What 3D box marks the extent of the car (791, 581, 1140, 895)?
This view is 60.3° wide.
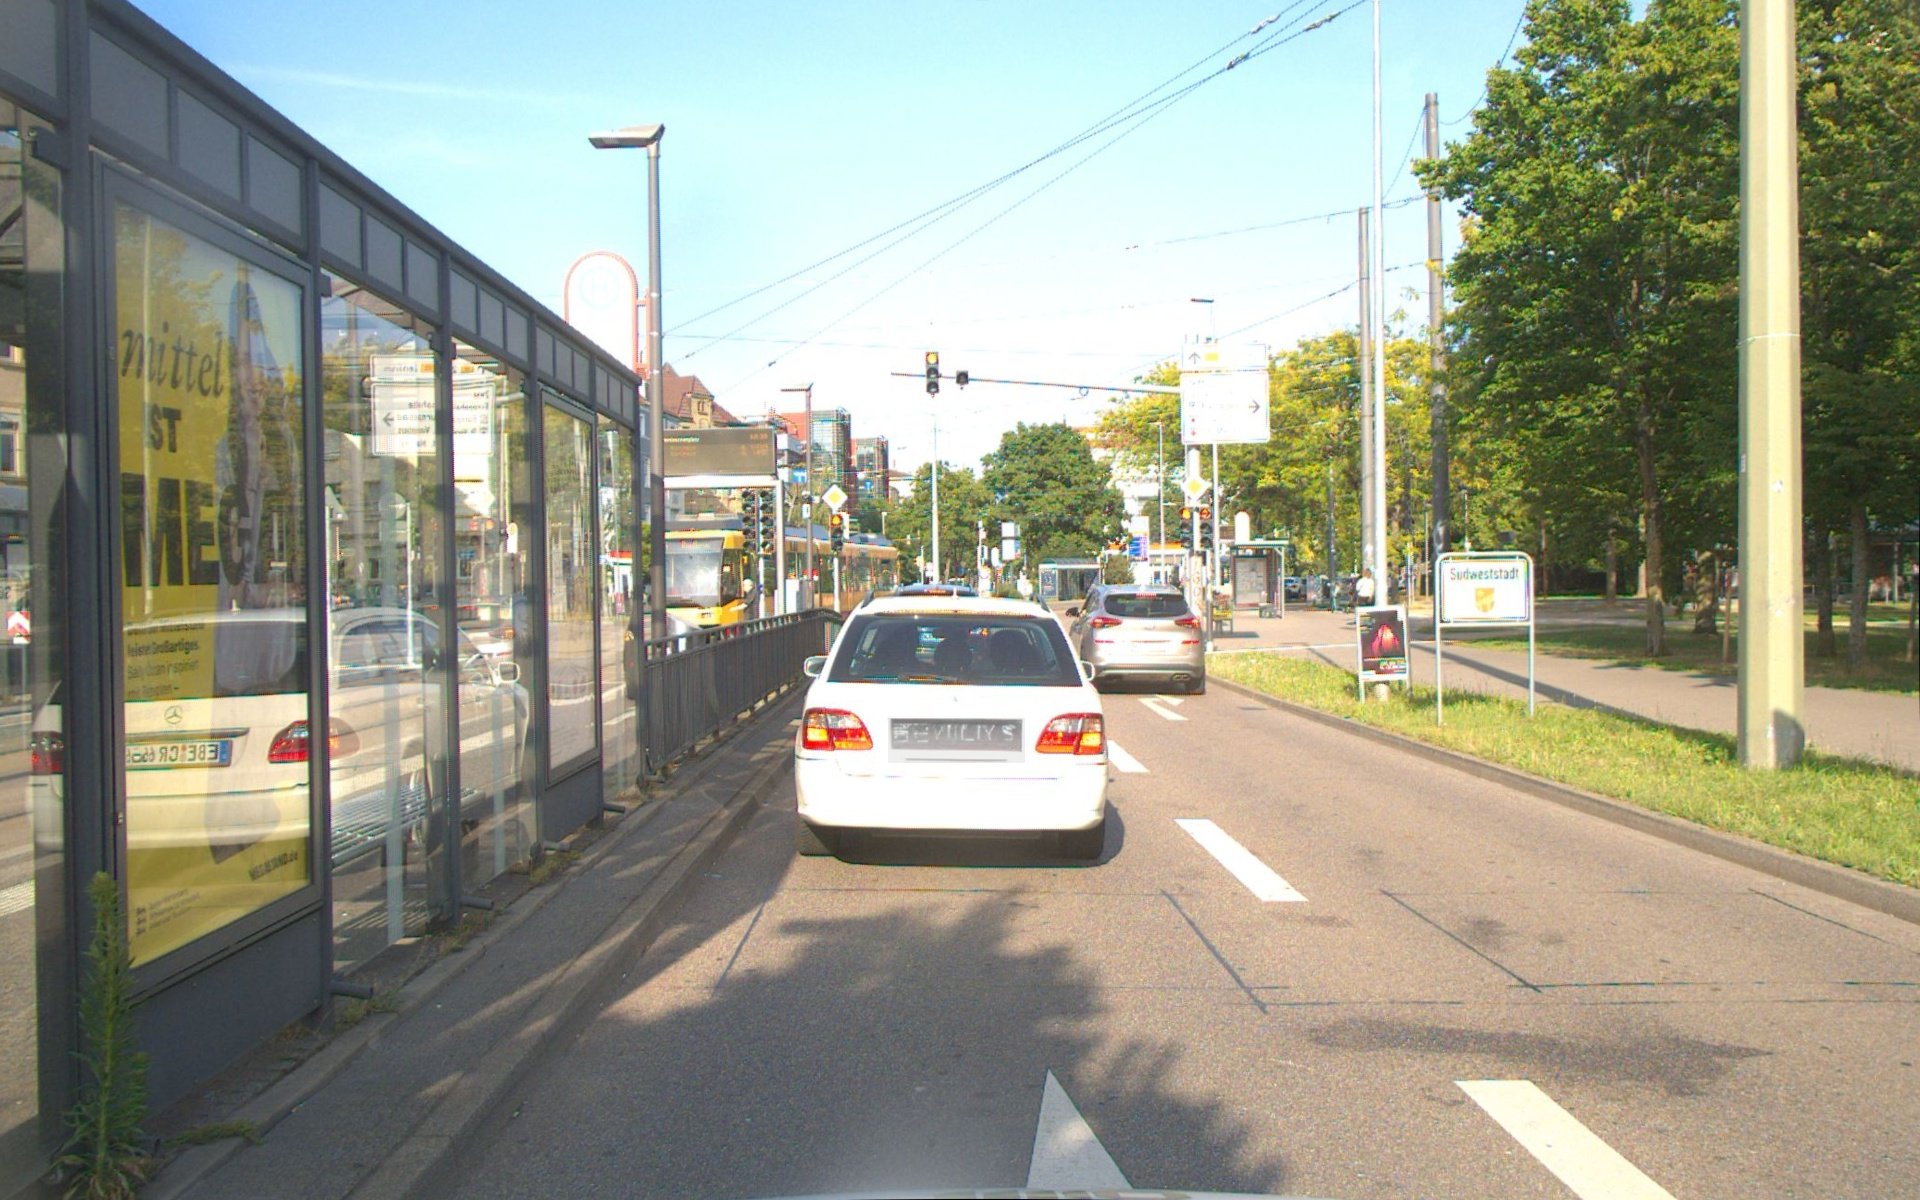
[{"bbox_3d":[-0.041,0.675,10.319,1.723,1.530,3.998,-1,0,-2],"label":"car"}]

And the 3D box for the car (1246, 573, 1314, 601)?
[{"bbox_3d":[20.426,-0.829,105.579,3.907,1.680,1.999,-1,0,24],"label":"car"}]

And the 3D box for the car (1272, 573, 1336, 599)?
[{"bbox_3d":[23.483,-0.957,112.878,3.941,1.680,1.982,-2,0,-28],"label":"car"}]

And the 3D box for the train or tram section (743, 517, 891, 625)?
[{"bbox_3d":[-4.979,-1.039,61.013,2.789,3.540,13.210,0,1,7],"label":"train or tram section"}]

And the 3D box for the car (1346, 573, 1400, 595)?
[{"bbox_3d":[33.288,-1.319,133.373,3.941,1.680,1.982,-2,0,-28],"label":"car"}]

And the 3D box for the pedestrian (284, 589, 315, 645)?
[{"bbox_3d":[-21.317,0.551,53.393,0.651,1.783,0.746,0,1,3],"label":"pedestrian"}]

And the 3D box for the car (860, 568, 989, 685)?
[{"bbox_3d":[-0.491,0.356,26.365,1.750,1.719,4.002,0,1,3],"label":"car"}]

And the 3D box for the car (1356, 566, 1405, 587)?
[{"bbox_3d":[35.331,-2.000,139.049,3.902,1.680,2.002,-1,0,13],"label":"car"}]

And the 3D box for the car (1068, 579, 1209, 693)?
[{"bbox_3d":[2.722,0.499,26.031,1.990,1.633,4.002,0,1,3],"label":"car"}]

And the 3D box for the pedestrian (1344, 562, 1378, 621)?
[{"bbox_3d":[11.533,-0.239,47.604,0.867,1.681,0.746,0,1,7],"label":"pedestrian"}]

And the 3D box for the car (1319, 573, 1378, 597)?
[{"bbox_3d":[28.947,-1.143,123.327,3.941,1.680,1.982,-2,0,-28],"label":"car"}]

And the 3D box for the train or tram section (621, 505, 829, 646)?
[{"bbox_3d":[-6.414,-0.733,48.042,2.789,3.540,13.210,0,1,6],"label":"train or tram section"}]

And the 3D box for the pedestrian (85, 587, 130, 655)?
[{"bbox_3d":[-22.490,0.543,43.634,0.871,1.783,0.744,0,1,-12],"label":"pedestrian"}]
